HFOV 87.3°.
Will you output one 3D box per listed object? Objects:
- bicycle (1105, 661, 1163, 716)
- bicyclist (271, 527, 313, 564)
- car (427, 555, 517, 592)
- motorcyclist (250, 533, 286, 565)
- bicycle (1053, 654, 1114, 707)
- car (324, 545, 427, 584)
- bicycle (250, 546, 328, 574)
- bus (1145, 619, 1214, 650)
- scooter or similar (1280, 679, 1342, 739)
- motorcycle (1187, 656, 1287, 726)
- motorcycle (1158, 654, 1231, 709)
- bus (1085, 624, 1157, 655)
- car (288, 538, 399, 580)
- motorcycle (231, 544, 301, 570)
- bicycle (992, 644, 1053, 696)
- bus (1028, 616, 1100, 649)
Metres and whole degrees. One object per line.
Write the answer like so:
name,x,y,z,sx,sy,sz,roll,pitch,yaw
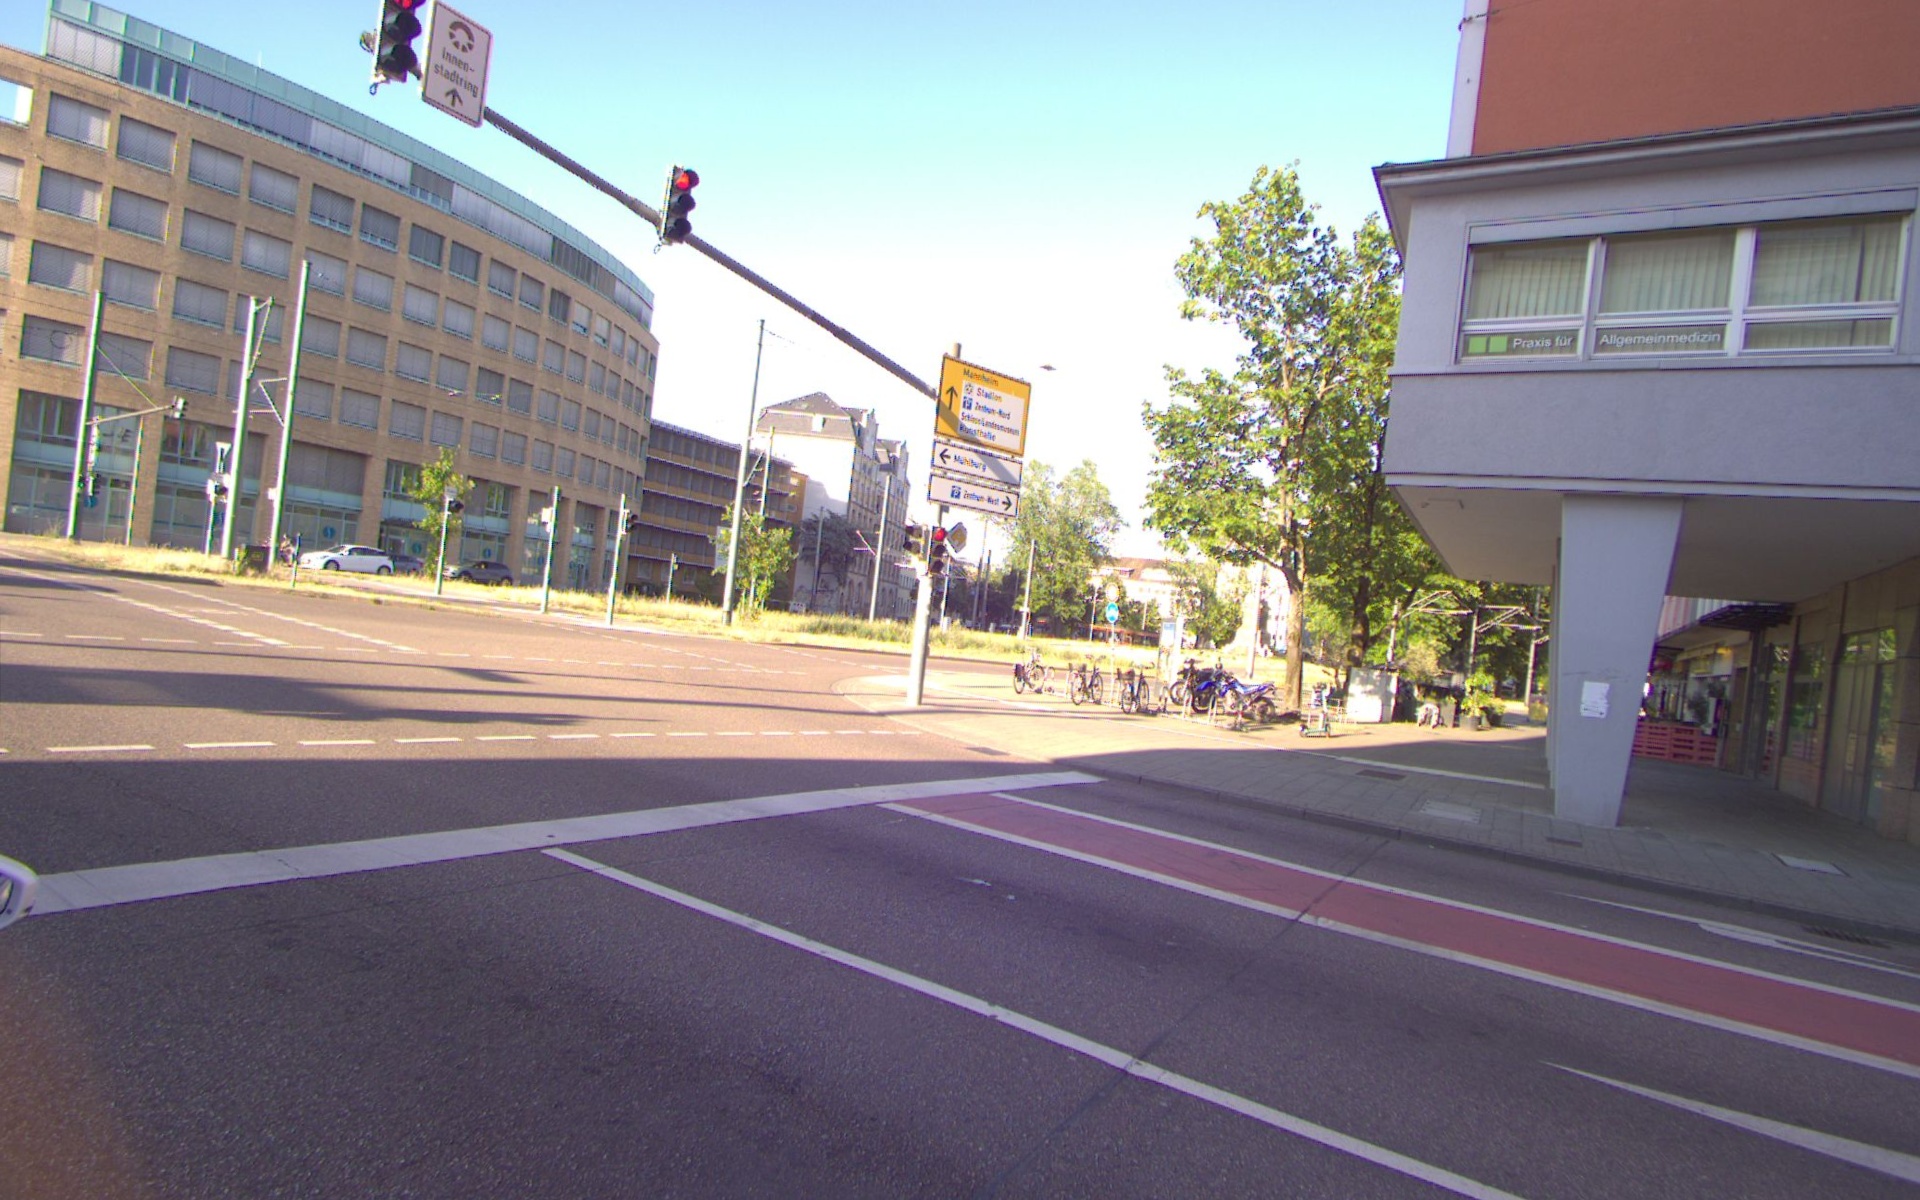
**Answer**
bicycle,4.002,1.998,23.076,0.583,1.129,2.058,7,1,28
bicyclist,-33.130,-2.696,49.914,1.134,1.591,1.225,6,0,30
car,-26.992,-1.438,55.767,1.790,1.509,4.058,6,-1,30
motorcyclist,-35.293,-2.584,51.291,1.014,1.453,1.067,6,0,31
bicycle,2.931,1.862,23.695,0.584,1.129,2.003,7,1,29
car,-32.515,-1.970,56.090,1.953,1.555,4.488,6,-1,32
bicycle,-33.244,-1.961,49.882,1.134,1.012,2.966,6,-1,29
bus,32.118,5.076,146.903,10.960,3.248,2.335,7,-1,-31
scooter or similar,7.898,2.448,22.588,1.549,1.251,0.479,6,1,-40
motorcycle,6.907,2.245,25.055,2.224,1.409,0.845,7,-1,19
motorcycle,6.501,2.269,27.857,2.044,1.324,0.880,7,-1,-44
bus,22.639,5.537,141.271,10.965,3.248,2.334,7,-1,-32
car,-30.446,-1.990,49.800,1.961,1.509,4.171,6,-1,29
motorcycle,-35.344,-2.190,51.279,1.014,0.975,2.722,6,-1,30
bicycle,1.541,1.687,24.519,0.584,1.129,1.974,7,1,29
bus,14.045,4.384,134.884,11.035,3.248,2.384,8,-1,-40
